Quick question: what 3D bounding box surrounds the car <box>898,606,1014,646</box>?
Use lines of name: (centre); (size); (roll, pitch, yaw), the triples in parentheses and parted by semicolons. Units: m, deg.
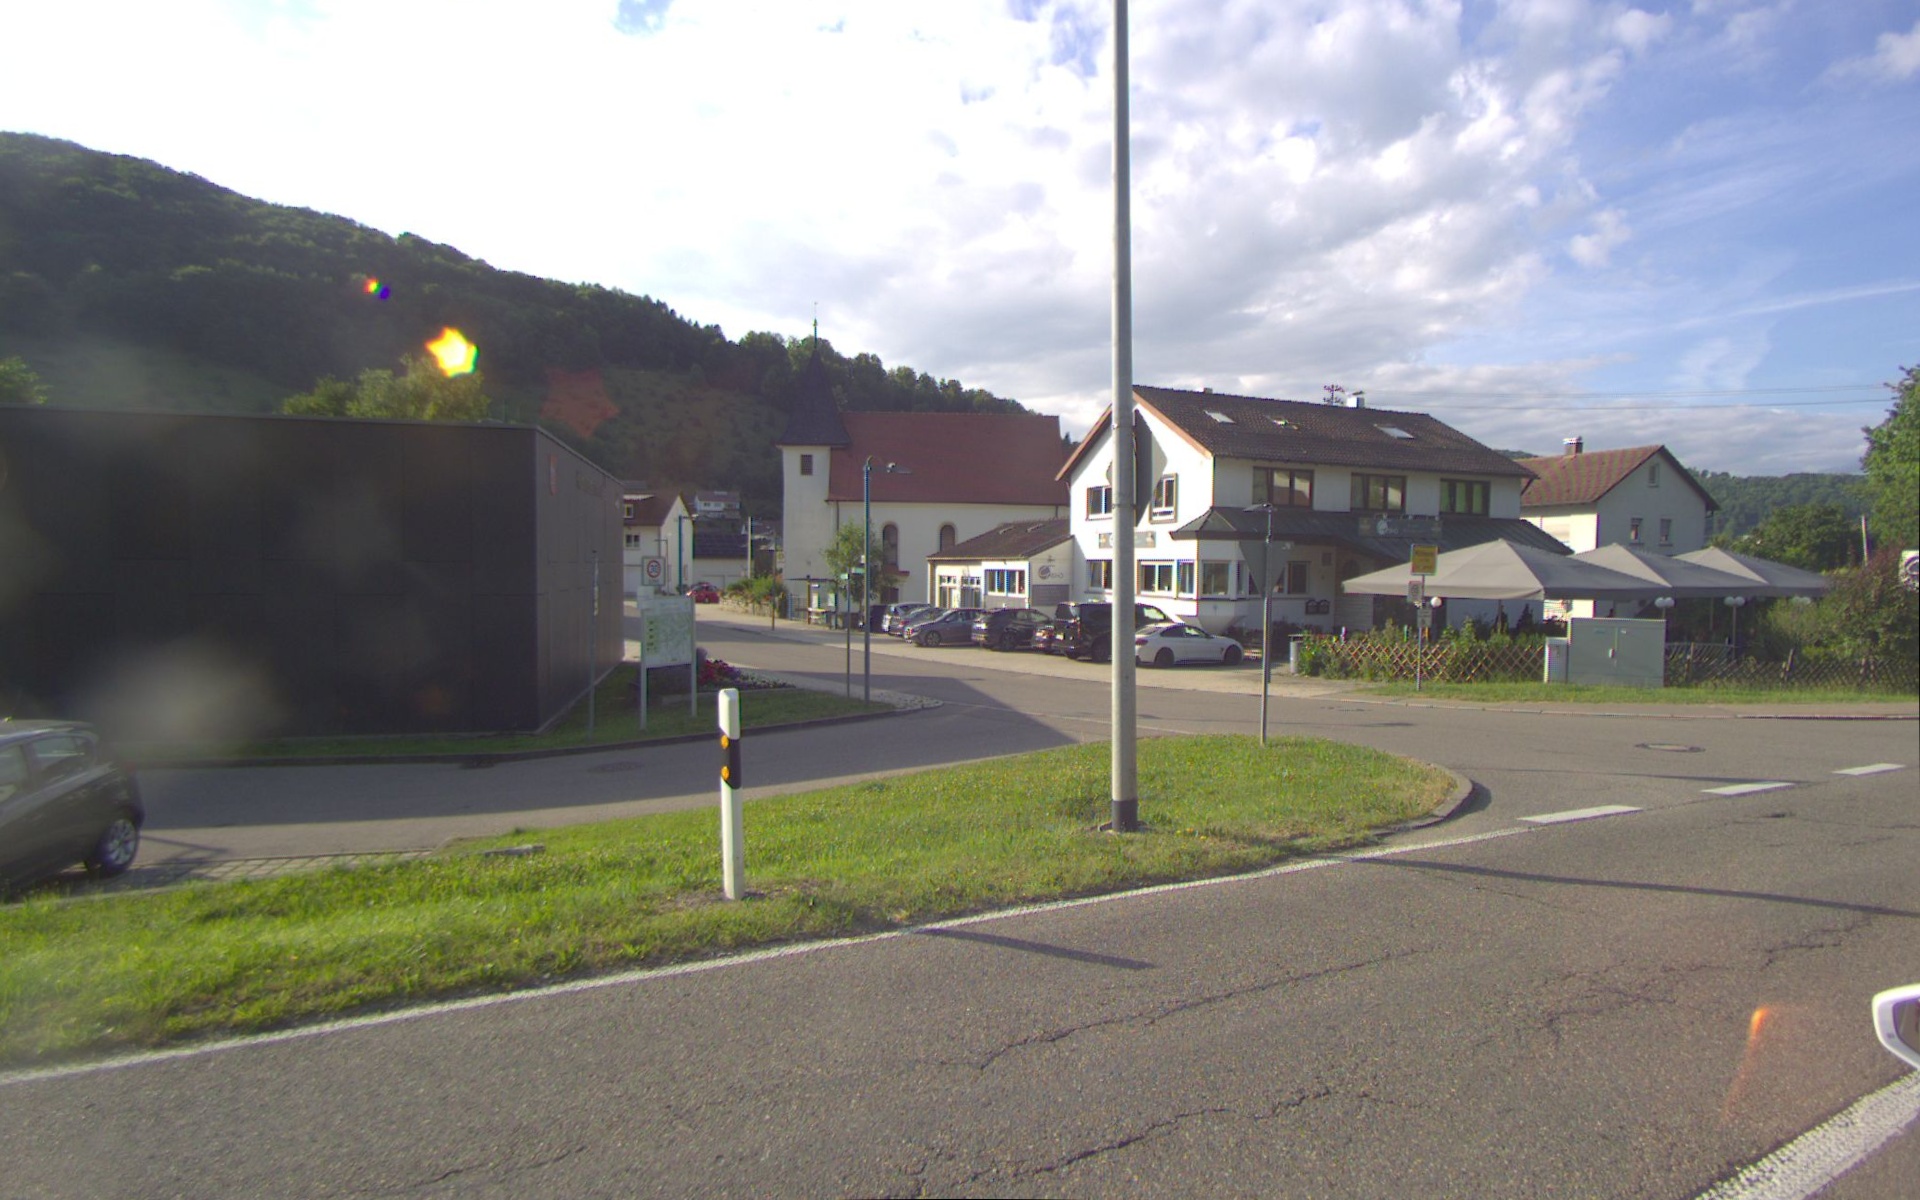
car: (-0.170, 1.099, 42.311); (4.518, 1.618, 1.986); (1, -1, -27)

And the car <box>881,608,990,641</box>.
car: (-1.108, 1.094, 45.474); (4.518, 1.431, 1.986); (1, -1, -27)

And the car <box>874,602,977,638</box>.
car: (-1.651, 0.978, 48.072); (4.518, 1.665, 1.986); (1, -1, -27)

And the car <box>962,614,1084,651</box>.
car: (2.546, 1.281, 40.167); (4.518, 1.431, 1.986); (1, -1, -27)

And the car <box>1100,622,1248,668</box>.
car: (7.027, 1.444, 32.925); (4.518, 1.408, 1.986); (1, -1, -27)

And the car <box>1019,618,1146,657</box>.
car: (4.677, 1.418, 38.245); (4.518, 1.408, 1.986); (1, -1, -27)

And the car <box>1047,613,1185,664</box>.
car: (5.468, 1.325, 35.120); (4.518, 1.707, 1.986); (1, -1, -27)

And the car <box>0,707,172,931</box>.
car: (-8.503, 1.822, 8.057); (1.801, 1.555, 3.992); (1, -1, -12)

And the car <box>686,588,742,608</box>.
car: (-19.781, -0.132, 80.717); (1.972, 1.528, 3.977); (1, 0, 43)
